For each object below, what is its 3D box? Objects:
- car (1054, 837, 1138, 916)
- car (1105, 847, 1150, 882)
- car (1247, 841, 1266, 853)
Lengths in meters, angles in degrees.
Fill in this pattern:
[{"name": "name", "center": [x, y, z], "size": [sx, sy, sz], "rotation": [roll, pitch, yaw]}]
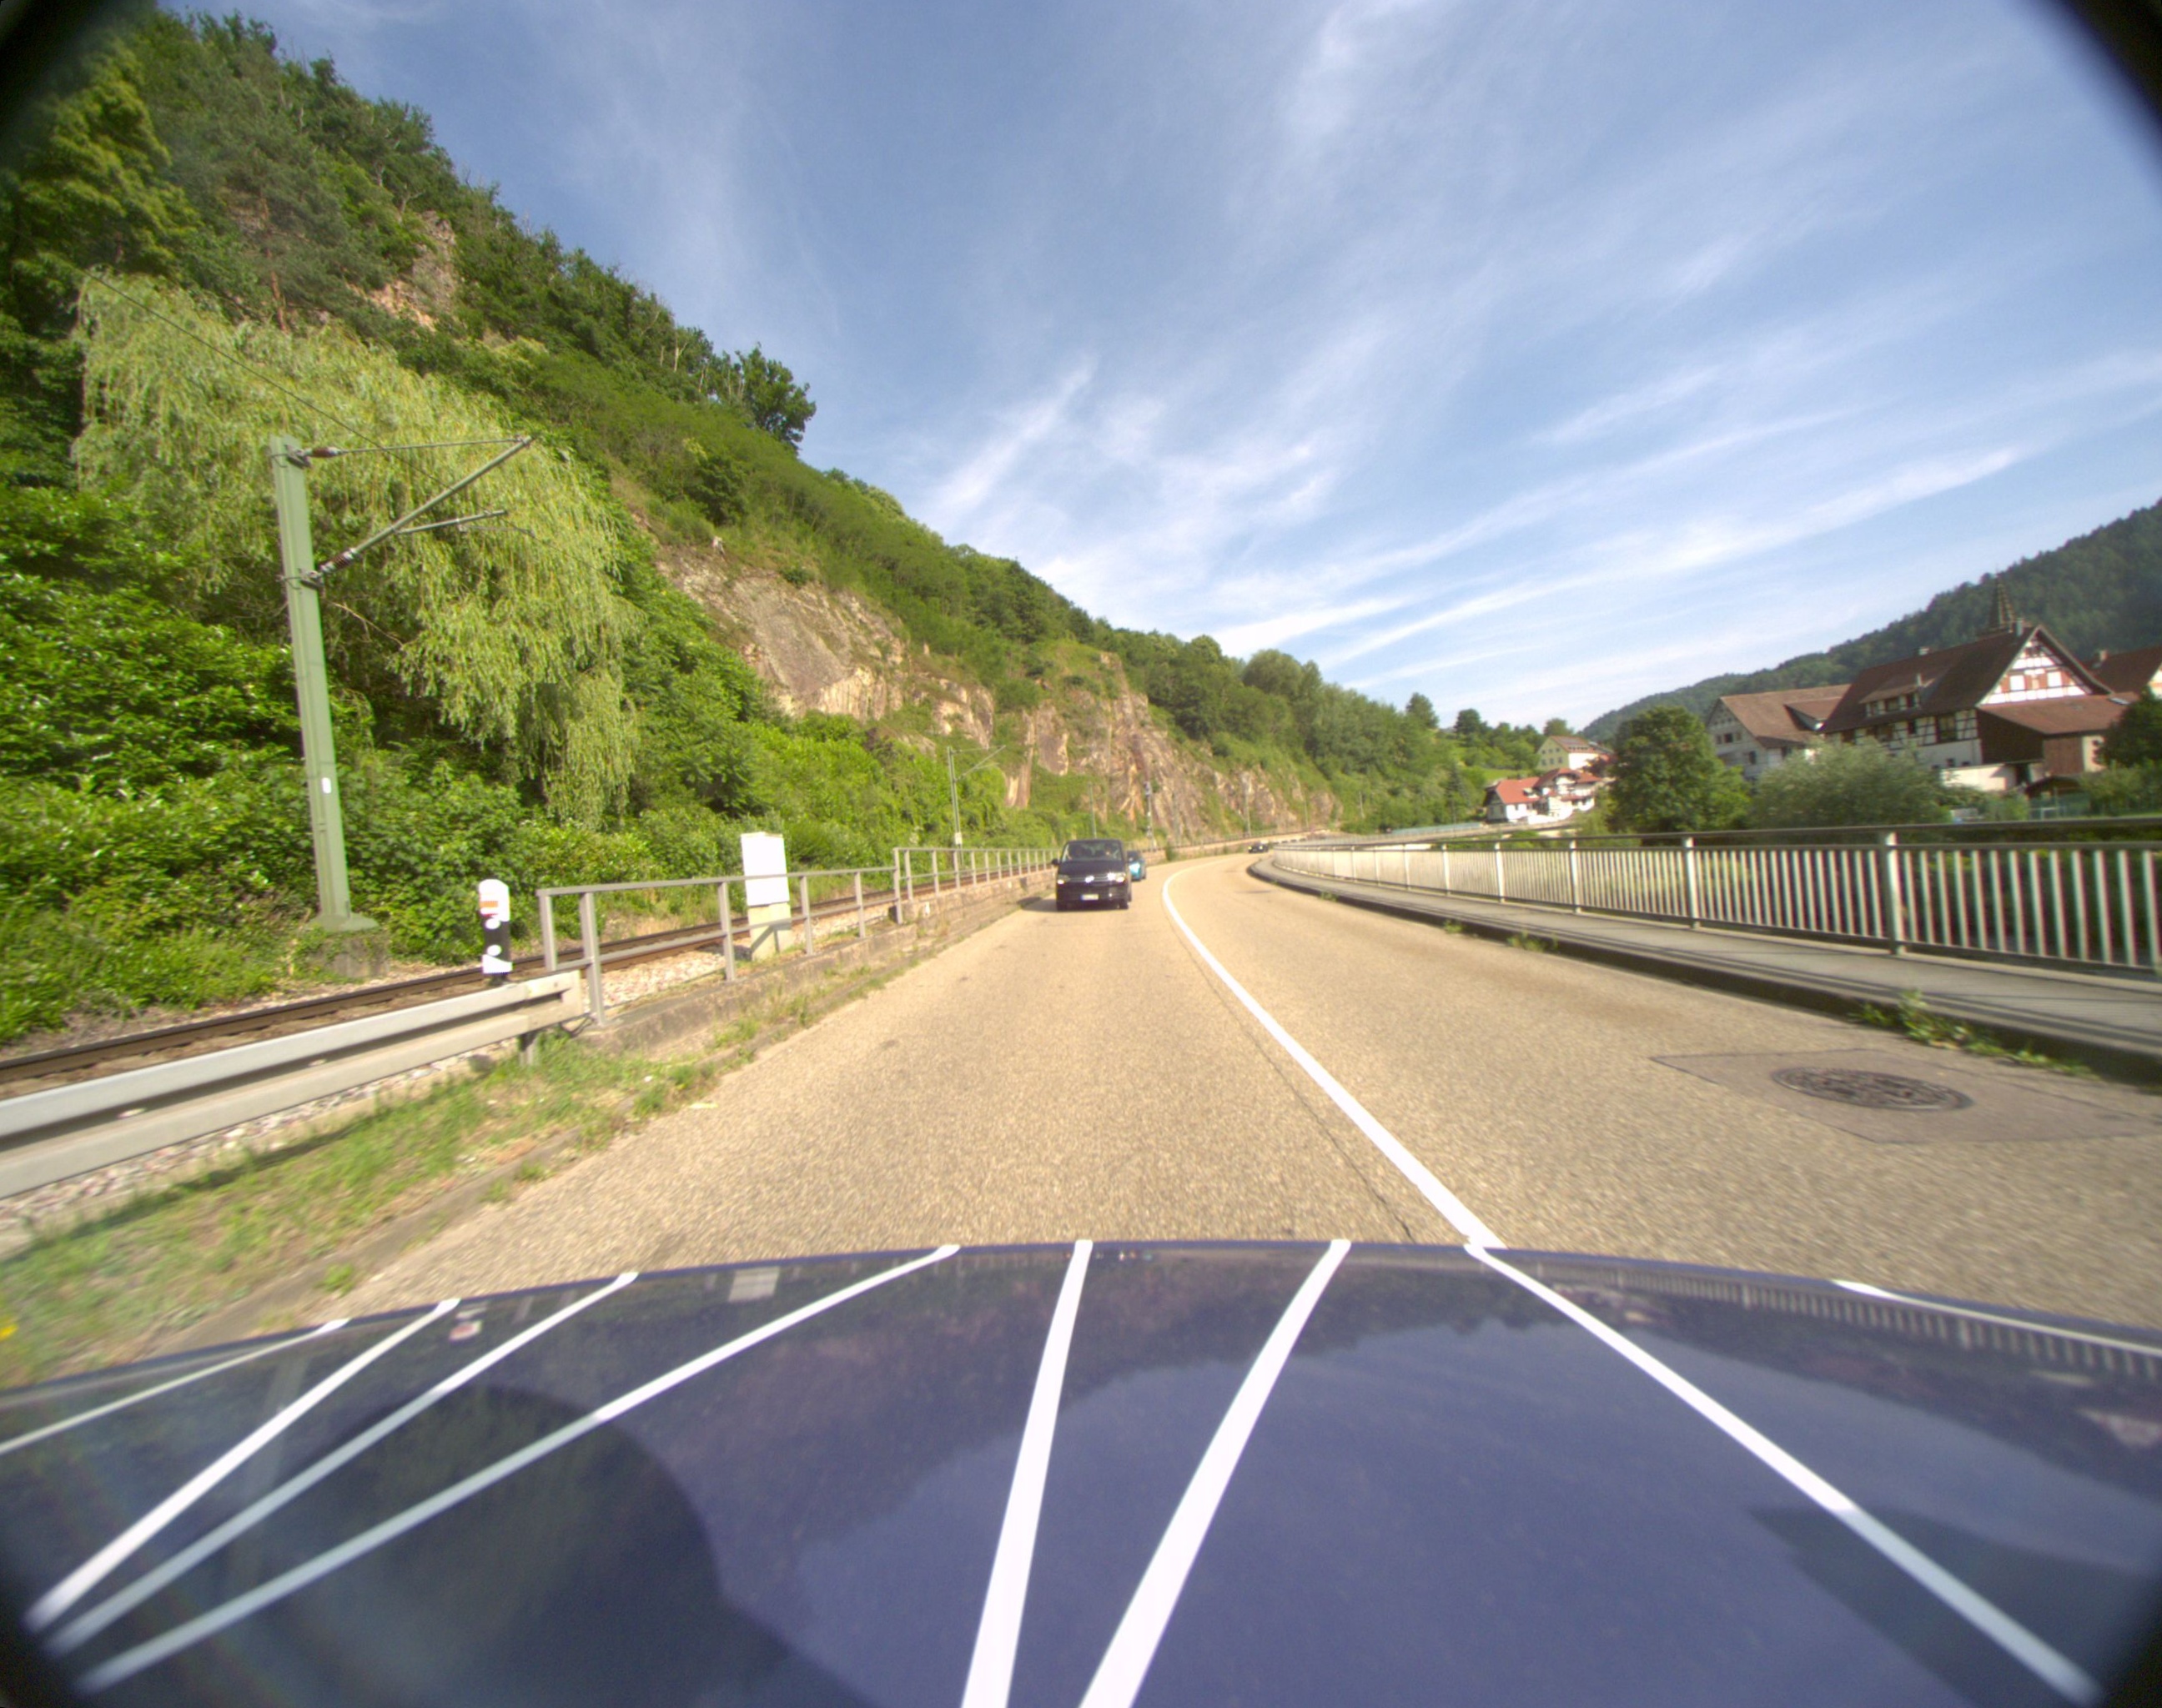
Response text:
[{"name": "car", "center": [0.555, 0.551, 21.649], "size": [1.886, 1.952, 4.867], "rotation": [-2, 0, 6]}, {"name": "car", "center": [2.396, 0.504, 38.276], "size": [1.681, 1.513, 3.868], "rotation": [-4, 0, 11]}, {"name": "car", "center": [22.580, -0.902, 97.795], "size": [1.700, 1.513, 3.478], "rotation": [1, 0, 23]}]
